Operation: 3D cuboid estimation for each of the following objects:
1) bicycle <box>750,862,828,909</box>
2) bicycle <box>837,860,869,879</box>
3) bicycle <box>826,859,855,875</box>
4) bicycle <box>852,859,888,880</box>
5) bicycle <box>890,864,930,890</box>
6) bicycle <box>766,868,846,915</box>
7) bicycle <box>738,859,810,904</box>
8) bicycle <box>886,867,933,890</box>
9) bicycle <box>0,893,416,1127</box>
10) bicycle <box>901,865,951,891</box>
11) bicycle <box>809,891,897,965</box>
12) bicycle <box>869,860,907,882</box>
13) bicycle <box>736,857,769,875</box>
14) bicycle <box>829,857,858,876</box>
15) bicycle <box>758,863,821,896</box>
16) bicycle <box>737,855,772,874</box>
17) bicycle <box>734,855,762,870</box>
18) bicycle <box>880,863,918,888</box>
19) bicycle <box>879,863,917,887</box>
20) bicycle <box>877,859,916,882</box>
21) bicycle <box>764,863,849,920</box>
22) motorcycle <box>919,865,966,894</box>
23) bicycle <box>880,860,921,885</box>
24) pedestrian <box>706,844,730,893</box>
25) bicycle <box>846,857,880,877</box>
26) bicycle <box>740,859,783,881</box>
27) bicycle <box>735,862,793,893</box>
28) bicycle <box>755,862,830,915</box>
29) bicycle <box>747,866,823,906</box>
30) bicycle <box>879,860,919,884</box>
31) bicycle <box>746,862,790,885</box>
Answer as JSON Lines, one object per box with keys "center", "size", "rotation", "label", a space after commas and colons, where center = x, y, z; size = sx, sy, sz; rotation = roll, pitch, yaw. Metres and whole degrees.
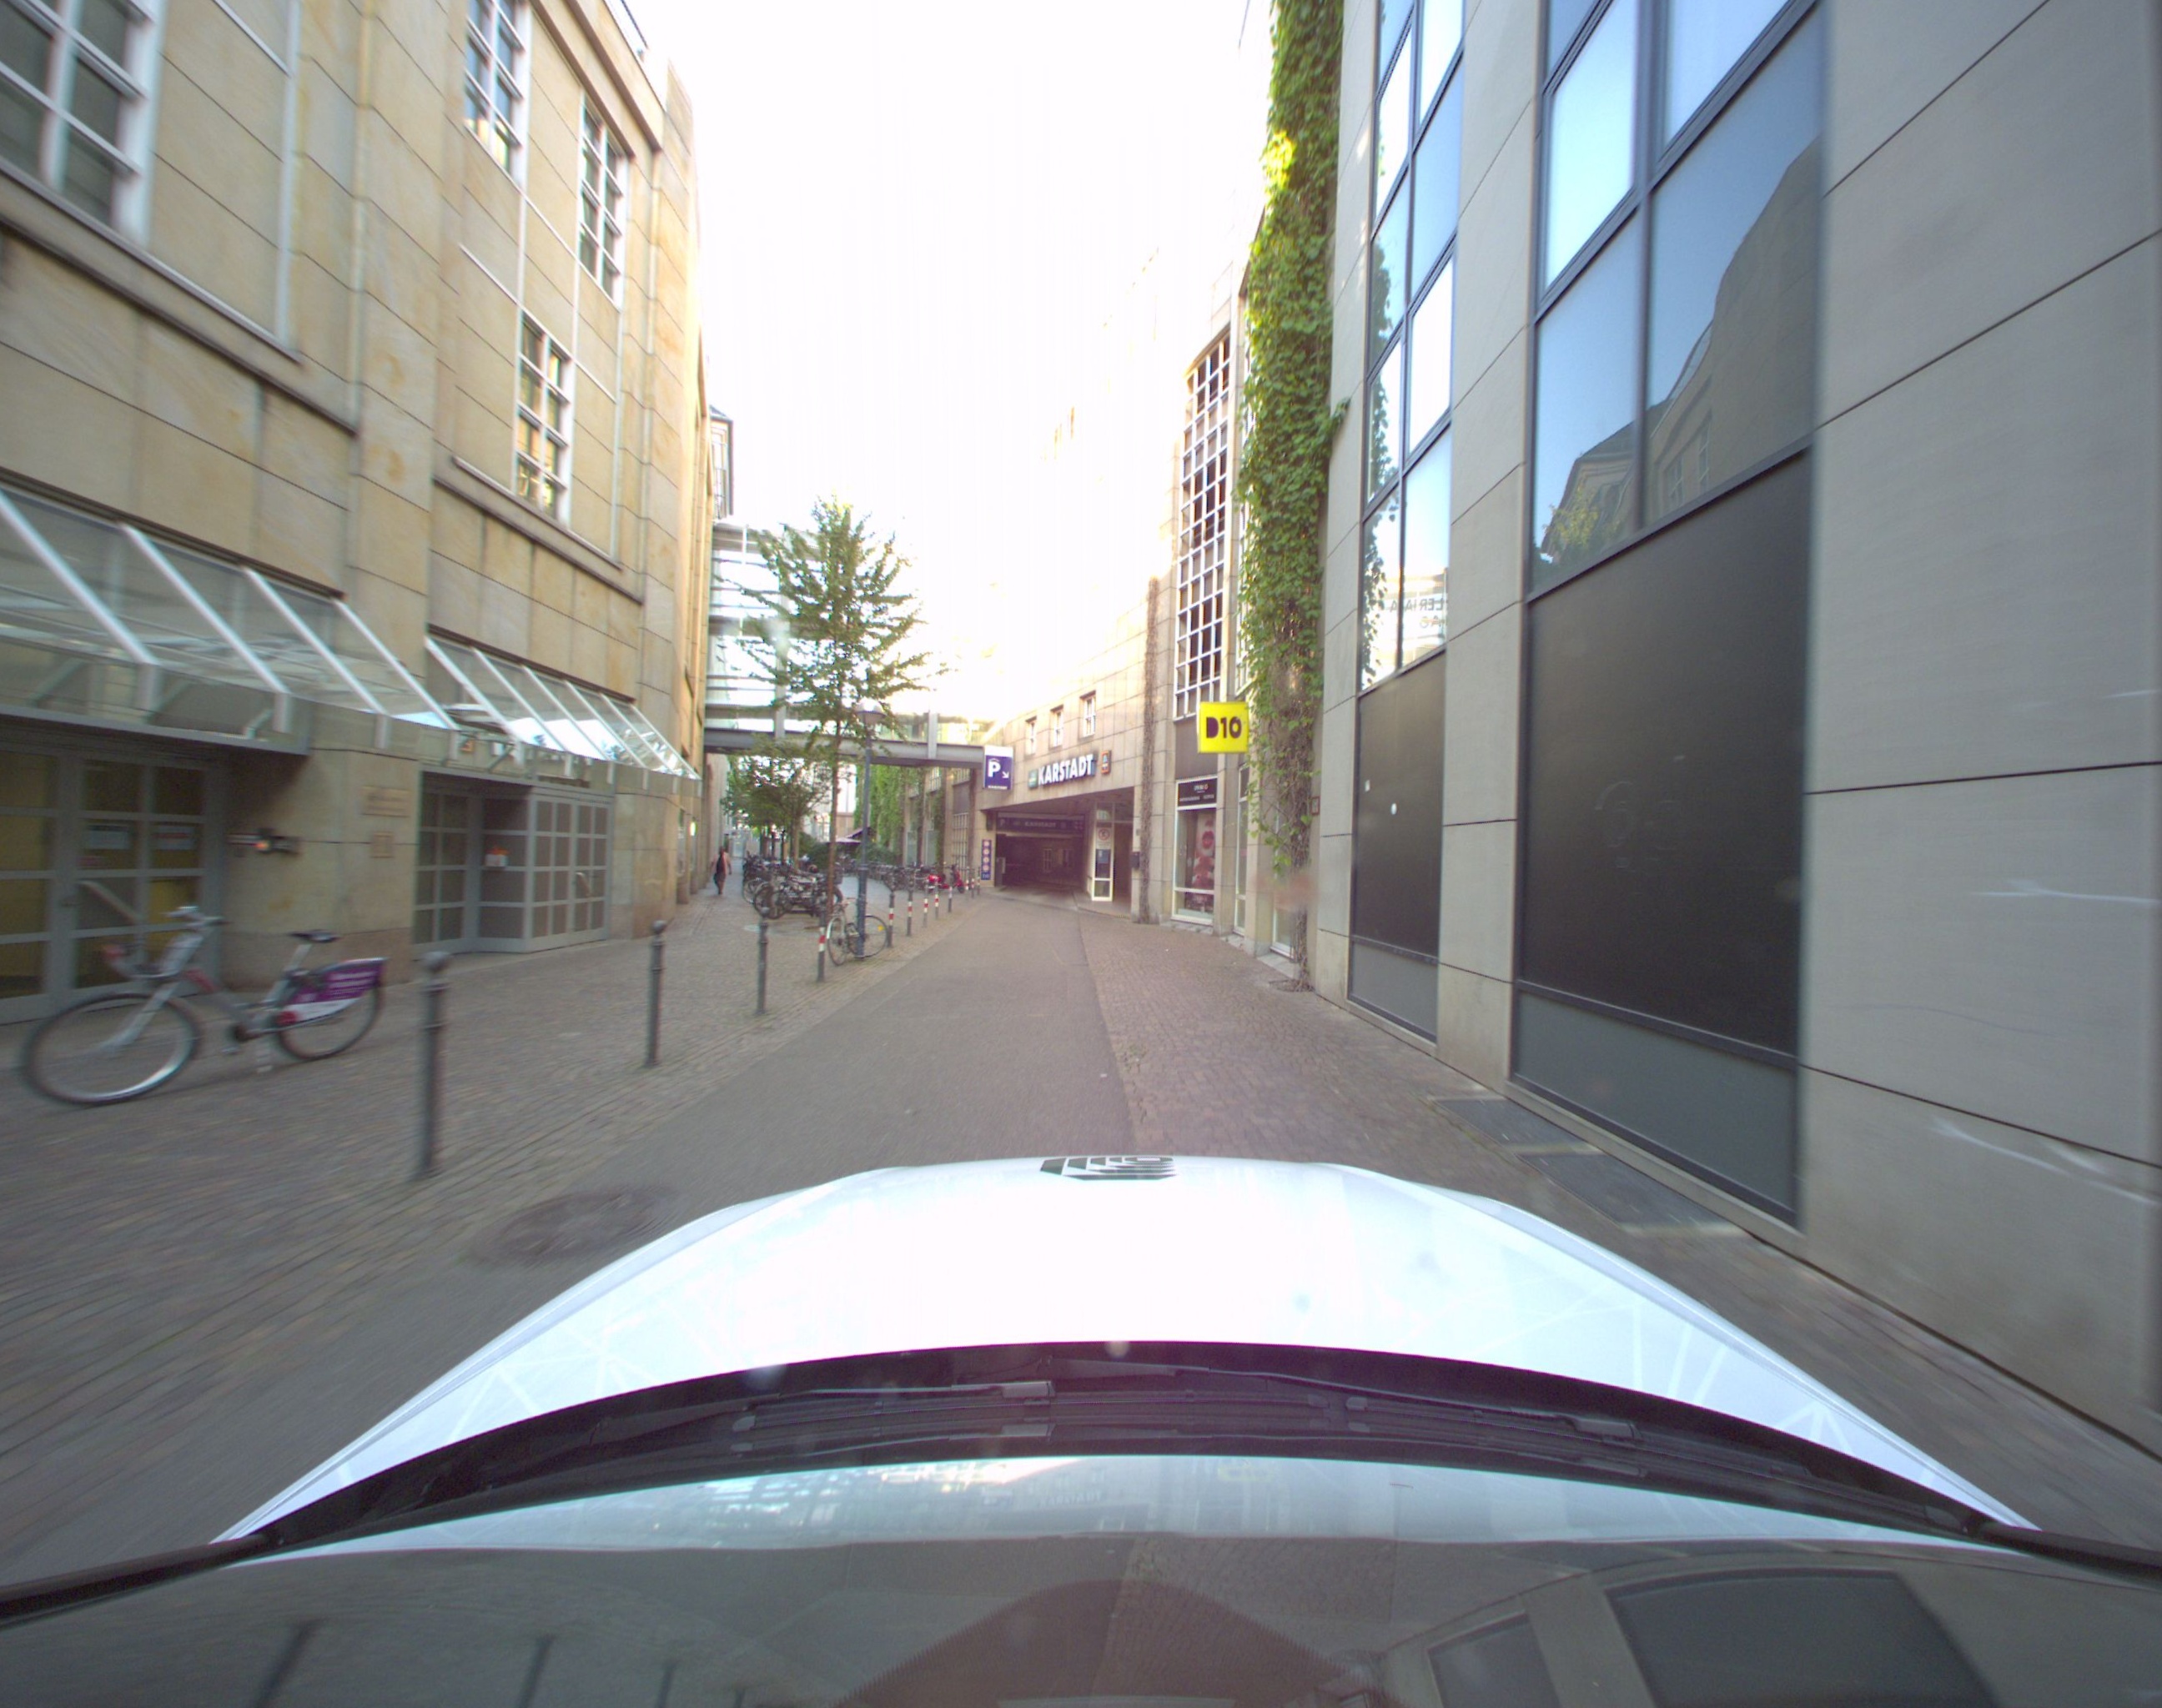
{"center": [-7.715, 0.821, 21.533], "size": [1.881, 1.177, 0.530], "rotation": [1, 0, -25], "label": "bicycle"}
{"center": [-13.598, 0.920, 48.609], "size": [1.779, 1.114, 0.539], "rotation": [1, 0, -20], "label": "bicycle"}
{"center": [-16.137, 0.876, 54.683], "size": [1.781, 1.079, 0.582], "rotation": [1, 0, -23], "label": "bicycle"}
{"center": [-11.120, 0.822, 42.944], "size": [1.781, 1.114, 0.539], "rotation": [1, 0, -23], "label": "bicycle"}
{"center": [-7.148, 0.944, 34.026], "size": [1.546, 1.049, 0.571], "rotation": [1, 0, -23], "label": "bicycle"}
{"center": [-6.954, 0.934, 20.615], "size": [1.845, 1.122, 0.530], "rotation": [1, 0, -25], "label": "bicycle"}
{"center": [-8.553, 0.758, 22.696], "size": [1.842, 1.225, 0.530], "rotation": [1, 0, -25], "label": "bicycle"}
{"center": [-6.969, 0.995, 33.084], "size": [1.781, 0.904, 0.460], "rotation": [1, 0, -23], "label": "bicycle"}
{"center": [-5.387, 0.865, 5.204], "size": [0.518, 1.138, 1.771], "rotation": [1, 0, 14], "label": "bicycle"}
{"center": [-6.142, 0.943, 32.274], "size": [1.856, 0.982, 0.460], "rotation": [1, 0, -23], "label": "bicycle"}
{"center": [-3.366, 1.064, 12.173], "size": [0.489, 0.939, 1.665], "rotation": [2, 0, 13], "label": "bicycle"}
{"center": [-9.636, 0.854, 40.746], "size": [1.781, 1.114, 0.539], "rotation": [1, 0, -23], "label": "bicycle"}
{"center": [-20.840, 0.737, 51.628], "size": [1.913, 1.112, 0.477], "rotation": [1, 0, -25], "label": "bicycle"}
{"center": [-15.644, 0.829, 53.708], "size": [1.781, 1.190, 0.582], "rotation": [1, 0, -23], "label": "bicycle"}
{"center": [-9.444, 0.830, 26.437], "size": [1.886, 1.043, 0.530], "rotation": [1, 0, -25], "label": "bicycle"}
{"center": [-19.083, 0.634, 47.595], "size": [1.913, 1.112, 0.477], "rotation": [1, 0, -25], "label": "bicycle"}
{"center": [-24.887, 0.666, 60.922], "size": [1.914, 1.112, 0.477], "rotation": [1, 0, -26], "label": "bicycle"}
{"center": [-7.813, 0.909, 34.971], "size": [1.546, 1.049, 0.571], "rotation": [1, 0, -23], "label": "bicycle"}
{"center": [-8.170, 0.930, 36.350], "size": [1.546, 1.049, 0.571], "rotation": [1, 0, -23], "label": "bicycle"}
{"center": [-9.016, 0.792, 39.760], "size": [1.781, 1.114, 0.539], "rotation": [1, 0, -23], "label": "bicycle"}
{"center": [-6.230, 0.836, 18.478], "size": [1.775, 1.231, 0.530], "rotation": [1, 0, -25], "label": "bicycle"}
{"center": [-5.215, 0.968, 30.693], "size": [1.670, 1.050, 0.460], "rotation": [1, 0, -23], "label": "motorcycle"}
{"center": [-8.311, 0.850, 37.518], "size": [1.781, 1.114, 0.539], "rotation": [1, 0, -23], "label": "bicycle"}
{"center": [-11.868, 0.470, 26.654], "size": [0.701, 1.582, 0.713], "rotation": [1, 0, -24], "label": "pedestrian"}
{"center": [-11.968, 0.721, 44.707], "size": [1.781, 1.114, 0.539], "rotation": [1, 0, -23], "label": "bicycle"}
{"center": [-14.637, 0.735, 37.332], "size": [1.788, 1.019, 0.477], "rotation": [1, 0, -25], "label": "bicycle"}
{"center": [-10.948, 0.798, 28.122], "size": [1.833, 1.043, 0.530], "rotation": [1, 0, -25], "label": "bicycle"}
{"center": [-6.977, 0.815, 19.724], "size": [1.661, 1.231, 0.530], "rotation": [1, 0, -25], "label": "bicycle"}
{"center": [-8.013, 0.849, 22.048], "size": [1.903, 1.052, 0.530], "rotation": [1, 0, -25], "label": "bicycle"}
{"center": [-8.611, 0.834, 38.577], "size": [1.781, 1.114, 0.539], "rotation": [1, 0, -23], "label": "bicycle"}
{"center": [-14.034, 0.859, 36.524], "size": [1.788, 1.019, 0.477], "rotation": [1, 0, -25], "label": "bicycle"}
